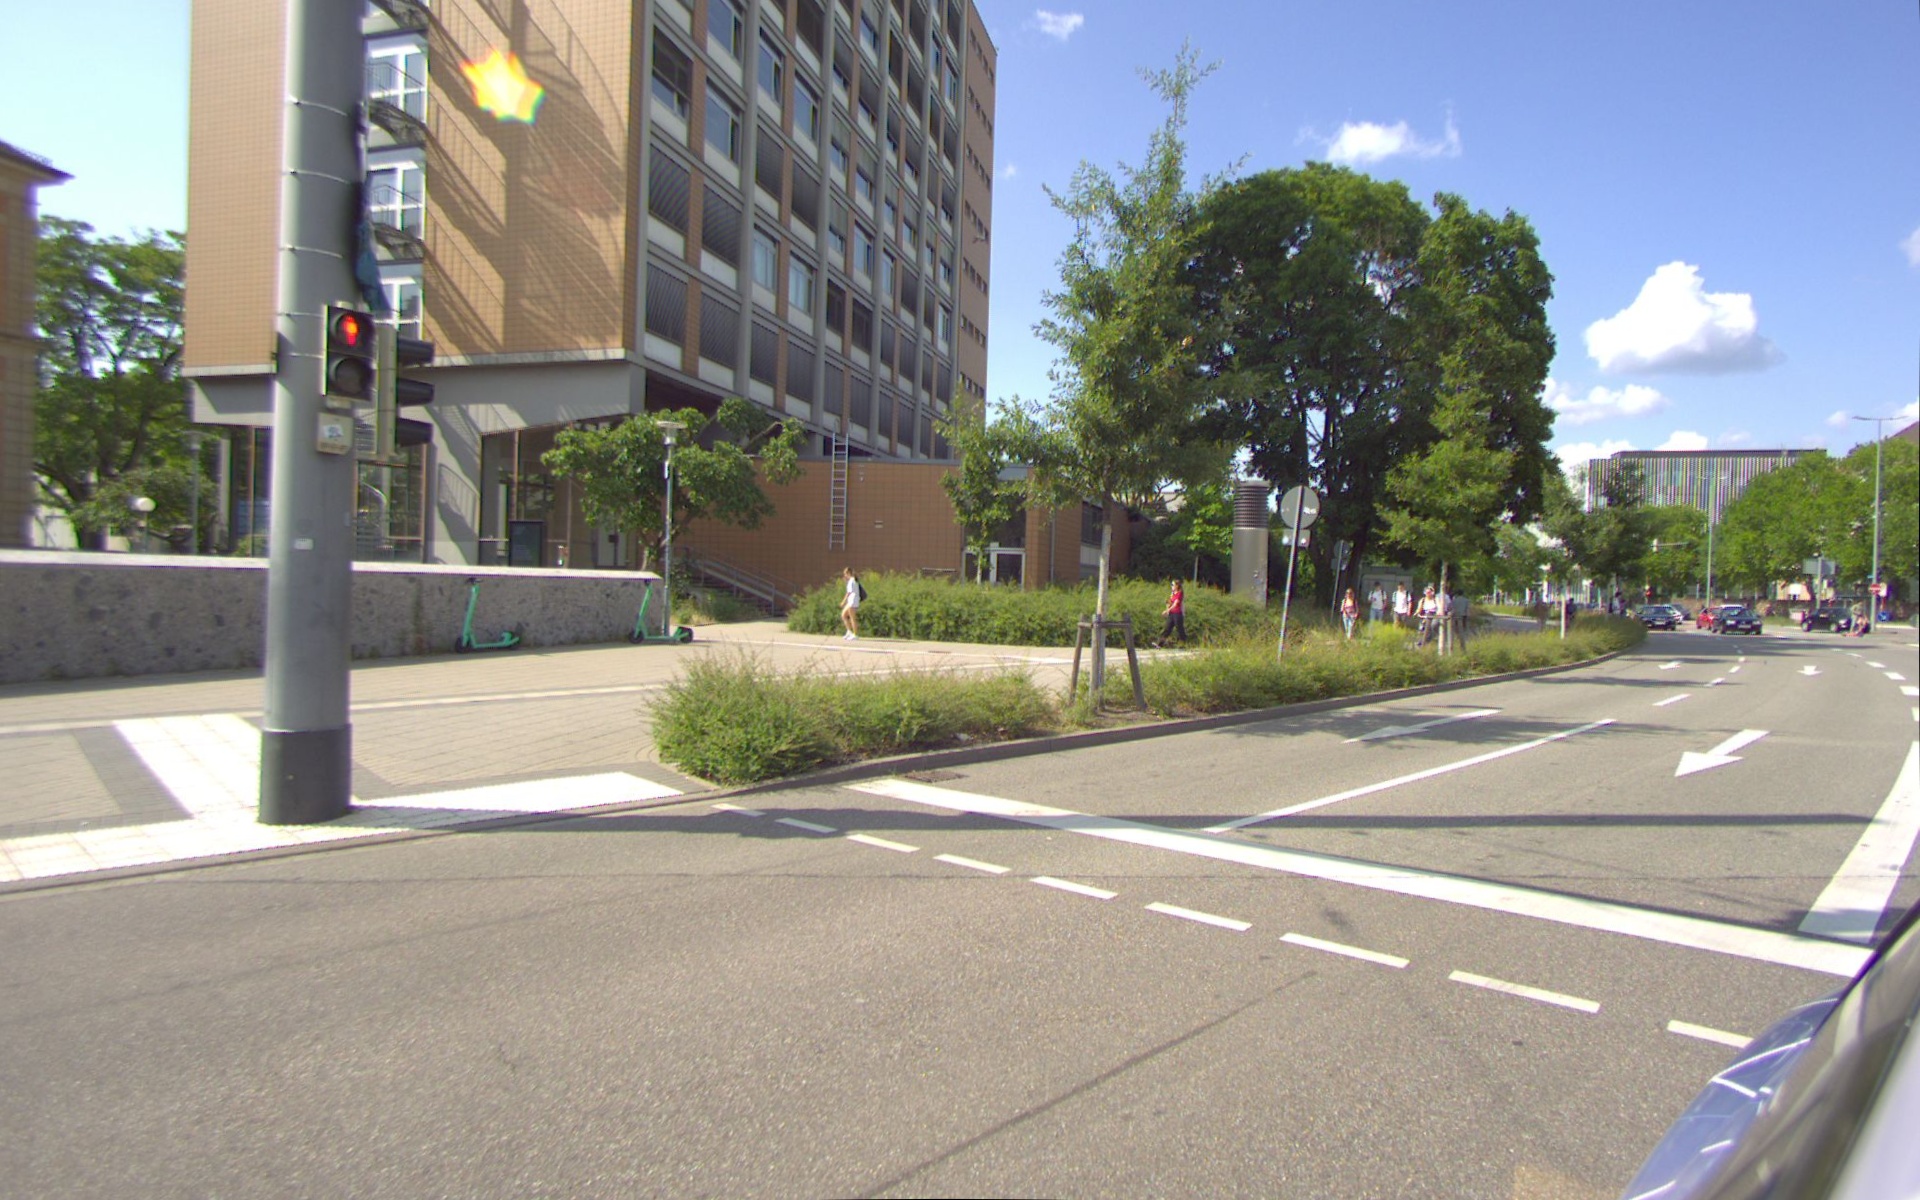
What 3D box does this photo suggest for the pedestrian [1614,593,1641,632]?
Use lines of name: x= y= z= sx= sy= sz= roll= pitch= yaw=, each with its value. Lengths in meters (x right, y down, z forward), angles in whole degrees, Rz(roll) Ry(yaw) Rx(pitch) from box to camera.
pedestrian: x=30.467 y=0.564 z=46.183 sx=0.924 sy=1.757 sz=0.757 roll=0 pitch=0 yaw=40

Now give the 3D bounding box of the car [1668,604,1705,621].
car: x=52.600 y=0.872 z=73.365 sx=1.895 sy=1.148 sz=4.055 roll=1 pitch=0 yaw=32

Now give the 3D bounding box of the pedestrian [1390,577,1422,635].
pedestrian: x=13.652 y=0.174 z=30.978 sx=0.612 sy=1.720 sz=0.878 roll=4 pitch=3 yaw=36

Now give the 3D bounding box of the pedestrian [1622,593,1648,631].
pedestrian: x=31.104 y=0.548 z=46.647 sx=0.924 sy=1.757 sz=0.757 roll=0 pitch=0 yaw=40

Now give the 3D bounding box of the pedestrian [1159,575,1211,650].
pedestrian: x=5.079 y=0.284 z=22.858 sx=0.871 sy=1.642 sz=0.617 roll=1 pitch=3 yaw=-28

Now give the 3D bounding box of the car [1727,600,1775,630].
car: x=41.868 y=0.755 z=53.634 sx=1.815 sy=1.481 sz=3.949 roll=1 pitch=0 yaw=35

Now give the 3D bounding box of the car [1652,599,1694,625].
car: x=41.769 y=0.679 z=59.263 sx=1.818 sy=1.481 sz=3.944 roll=1 pitch=0 yaw=39

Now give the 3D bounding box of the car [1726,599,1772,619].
car: x=57.005 y=0.660 z=73.147 sx=1.761 sy=1.371 sz=3.965 roll=0 pitch=0 yaw=25

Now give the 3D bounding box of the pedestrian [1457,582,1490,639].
pedestrian: x=16.637 y=0.337 z=32.780 sx=0.740 sy=1.775 sz=0.878 roll=4 pitch=3 yaw=36

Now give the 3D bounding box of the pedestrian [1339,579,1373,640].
pedestrian: x=11.151 y=0.261 z=28.491 sx=0.612 sy=1.642 sz=0.878 roll=5 pitch=3 yaw=36

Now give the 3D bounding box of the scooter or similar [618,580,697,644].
scooter or similar: x=-5.581 y=0.211 z=18.709 sx=1.292 sy=1.118 sz=0.466 roll=2 pitch=1 yaw=-3

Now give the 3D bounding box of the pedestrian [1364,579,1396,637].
pedestrian: x=13.025 y=0.235 z=31.382 sx=0.612 sy=1.720 sz=0.878 roll=4 pitch=3 yaw=36

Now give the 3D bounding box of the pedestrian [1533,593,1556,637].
pedestrian: x=23.482 y=0.582 z=40.674 sx=0.763 sy=1.757 sz=0.710 roll=0 pitch=0 yaw=34

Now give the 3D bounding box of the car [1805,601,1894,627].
car: x=50.735 y=0.777 z=57.802 sx=1.701 sy=1.351 sz=3.789 roll=0 pitch=0 yaw=0

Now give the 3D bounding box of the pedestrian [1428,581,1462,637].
pedestrian: x=15.963 y=0.267 z=33.298 sx=0.740 sy=1.767 sz=0.878 roll=5 pitch=3 yaw=36

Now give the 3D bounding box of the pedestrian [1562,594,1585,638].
pedestrian: x=24.598 y=0.642 z=40.579 sx=0.763 sy=1.757 sz=0.710 roll=0 pitch=0 yaw=34

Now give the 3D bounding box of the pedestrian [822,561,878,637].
pedestrian: x=-2.521 y=-0.037 z=23.223 sx=1.081 sy=1.642 sz=0.613 roll=3 pitch=3 yaw=15

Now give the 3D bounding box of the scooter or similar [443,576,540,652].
scooter or similar: x=-7.400 y=0.200 z=16.036 sx=0.460 sy=1.132 sz=1.436 roll=3 pitch=1 yaw=22

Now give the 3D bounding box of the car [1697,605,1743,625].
car: x=46.815 y=0.919 z=62.389 sx=1.582 sy=1.148 sz=3.597 roll=1 pitch=0 yaw=25

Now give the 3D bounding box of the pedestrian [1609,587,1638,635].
pedestrian: x=28.933 y=0.475 z=44.140 sx=0.961 sy=2.039 sz=0.757 roll=-1 pitch=0 yaw=40

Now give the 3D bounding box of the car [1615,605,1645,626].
car: x=49.828 y=1.149 z=75.208 sx=1.815 sy=1.481 sz=3.950 roll=1 pitch=0 yaw=34
